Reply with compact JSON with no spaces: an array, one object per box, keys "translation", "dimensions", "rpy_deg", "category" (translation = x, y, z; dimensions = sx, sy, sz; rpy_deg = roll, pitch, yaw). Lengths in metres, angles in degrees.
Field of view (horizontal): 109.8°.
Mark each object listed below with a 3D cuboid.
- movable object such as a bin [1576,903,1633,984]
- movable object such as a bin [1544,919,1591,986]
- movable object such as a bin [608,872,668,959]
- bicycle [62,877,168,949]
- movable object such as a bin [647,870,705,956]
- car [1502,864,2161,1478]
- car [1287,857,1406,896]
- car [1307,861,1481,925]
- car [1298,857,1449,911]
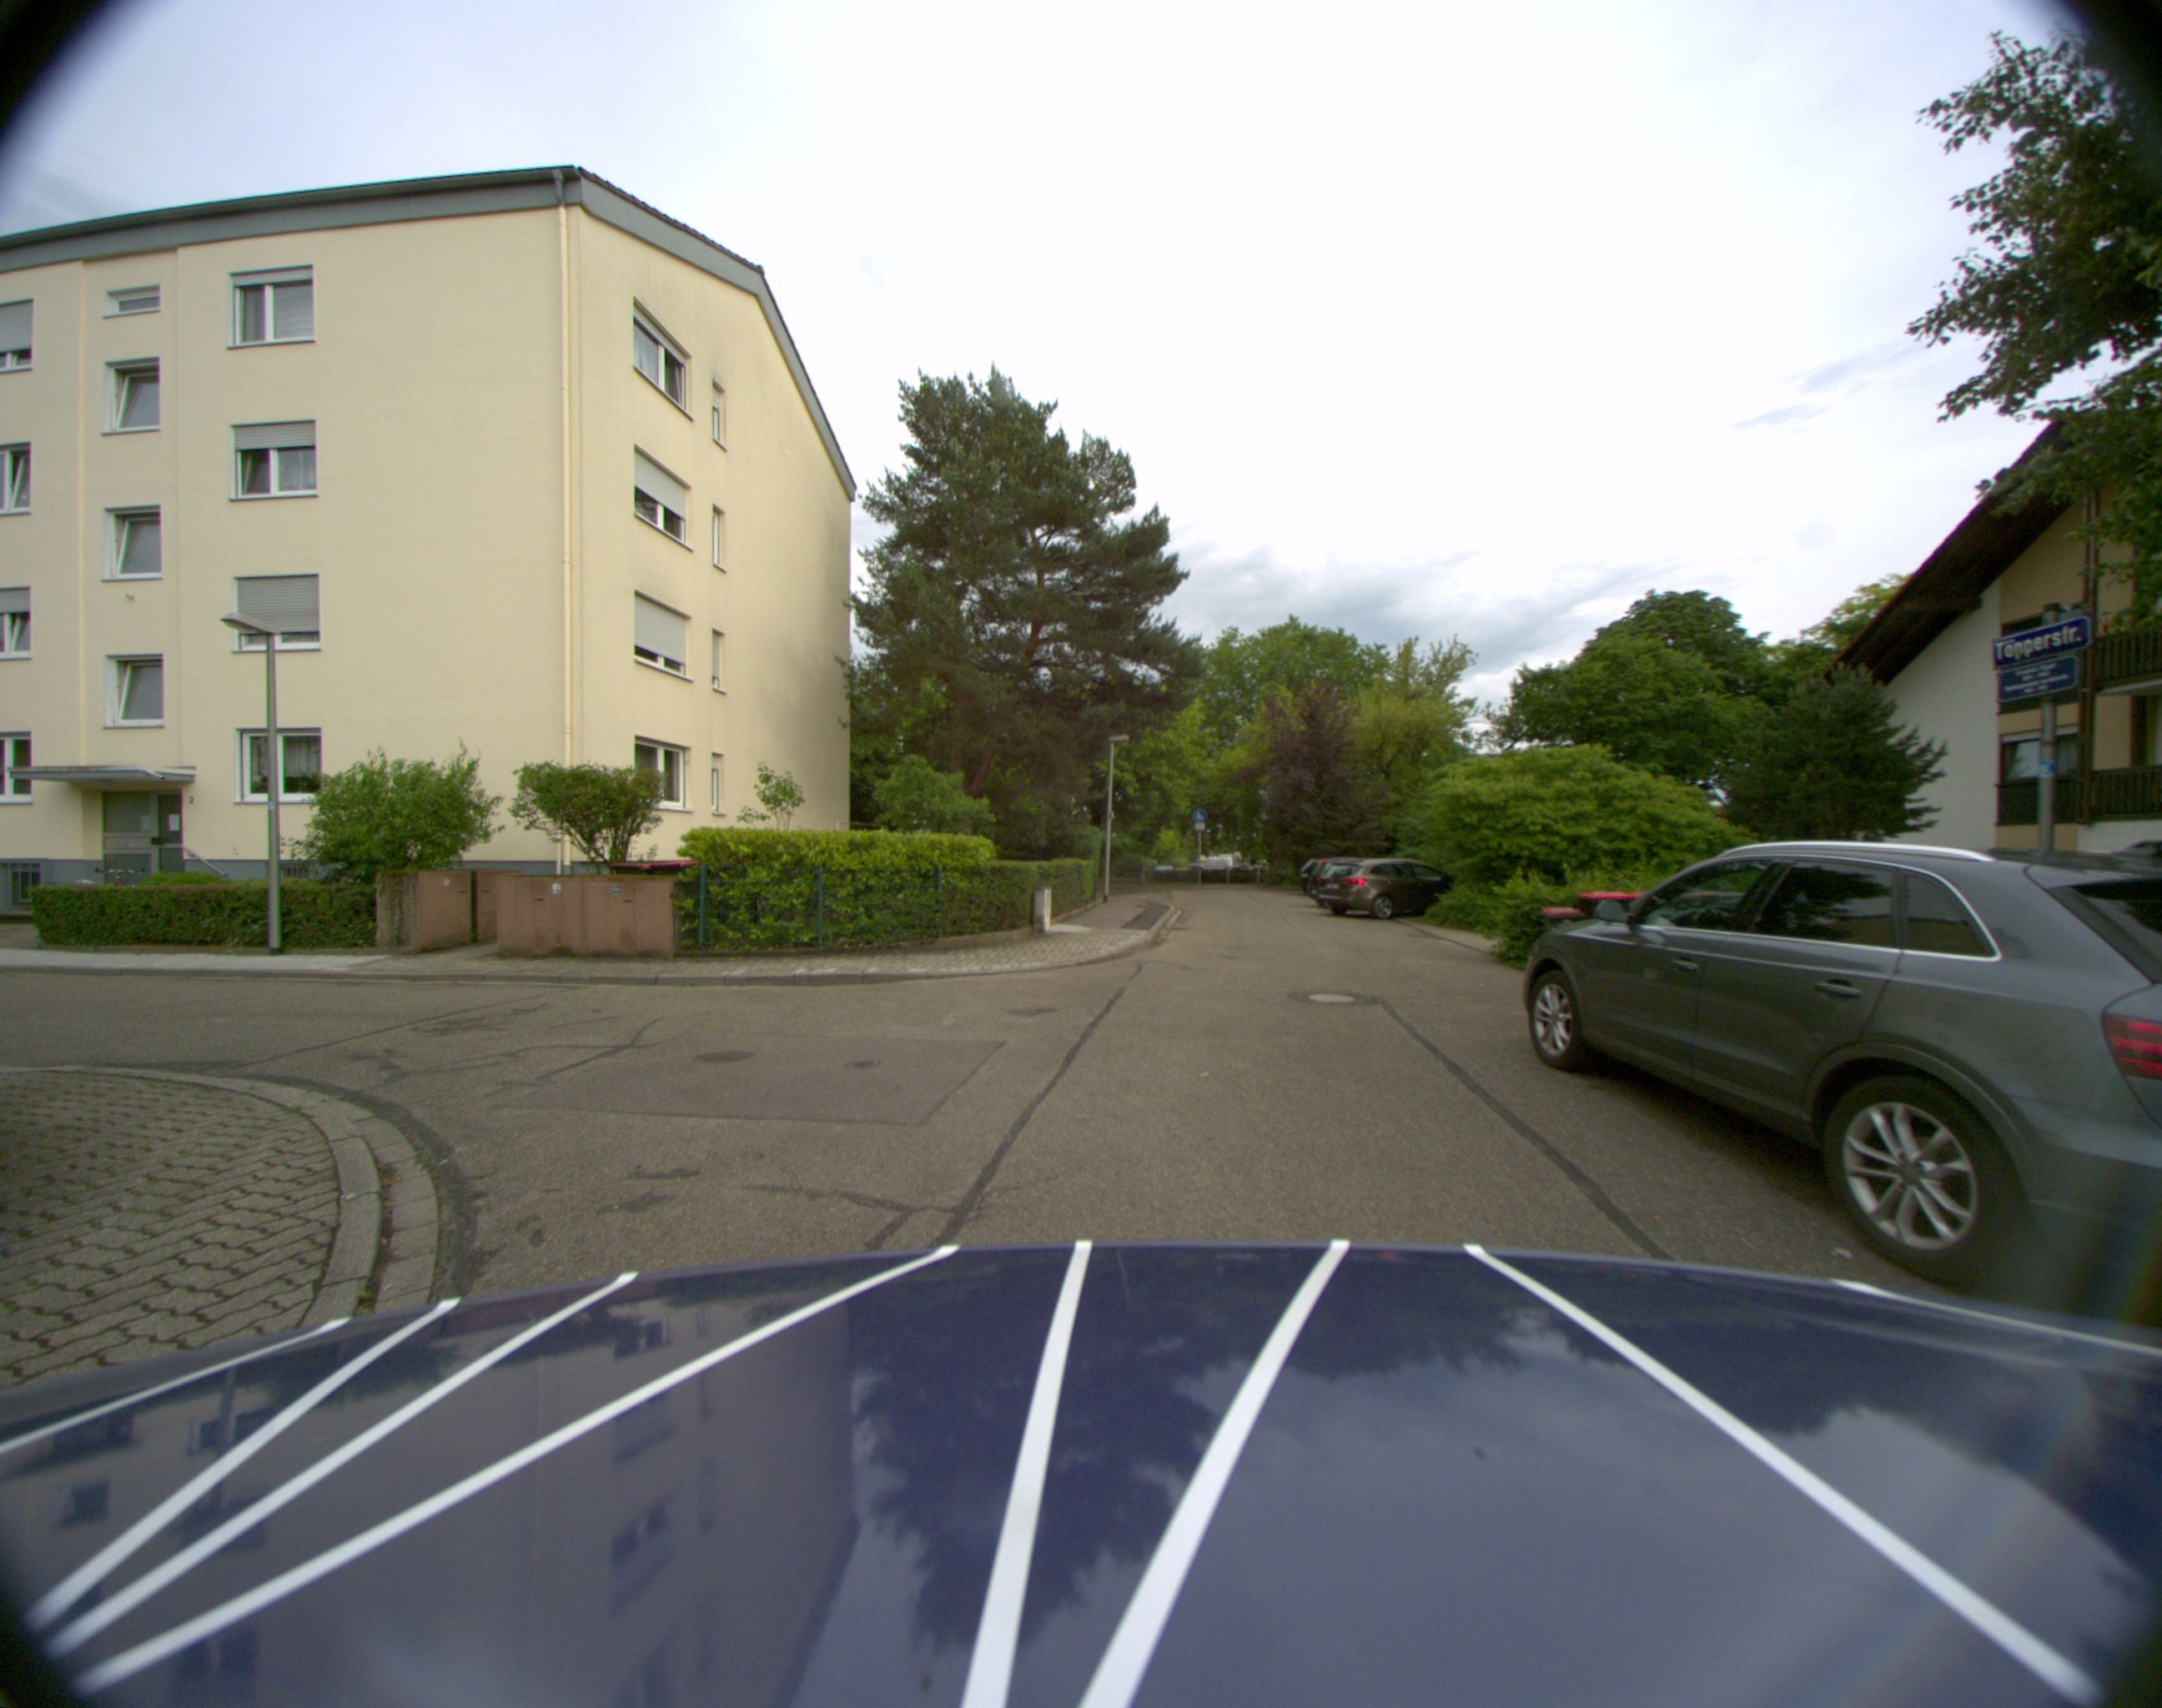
[{"translation":[6.844,1.160,9.955],"dimensions":[0.379,0.988,0.539],"rpy_deg":[0,2,5],"category":"movable object such as a bin"},{"translation":[6.403,1.290,10.009],"dimensions":[0.379,0.832,0.387],"rpy_deg":[0,2,5],"category":"movable object such as a bin"},{"translation":[-6.234,0.849,10.714],"dimensions":[0.515,1.181,0.507],"rpy_deg":[0,1,6],"category":"movable object such as a bin"},{"translation":[-15.077,0.912,11.862],"dimensions":[1.416,1.069,0.319],"rpy_deg":[1,2,7],"category":"bicycle"},{"translation":[-5.680,0.813,10.668],"dimensions":[0.515,1.180,0.507],"rpy_deg":[0,0,6],"category":"movable object such as a bin"},{"translation":[3.940,0.886,3.727],"dimensions":[1.745,1.522,4.253],"rpy_deg":[2,1,7],"category":"car"},{"translation":[9.931,0.818,28.497],"dimensions":[4.003,1.367,1.698],"rpy_deg":[0,1,-18],"category":"car"},{"translation":[8.044,0.948,19.573],"dimensions":[4.003,1.482,1.698],"rpy_deg":[0,1,-18],"category":"car"},{"translation":[8.637,0.853,22.496],"dimensions":[4.003,1.482,1.698],"rpy_deg":[0,1,-18],"category":"car"}]
